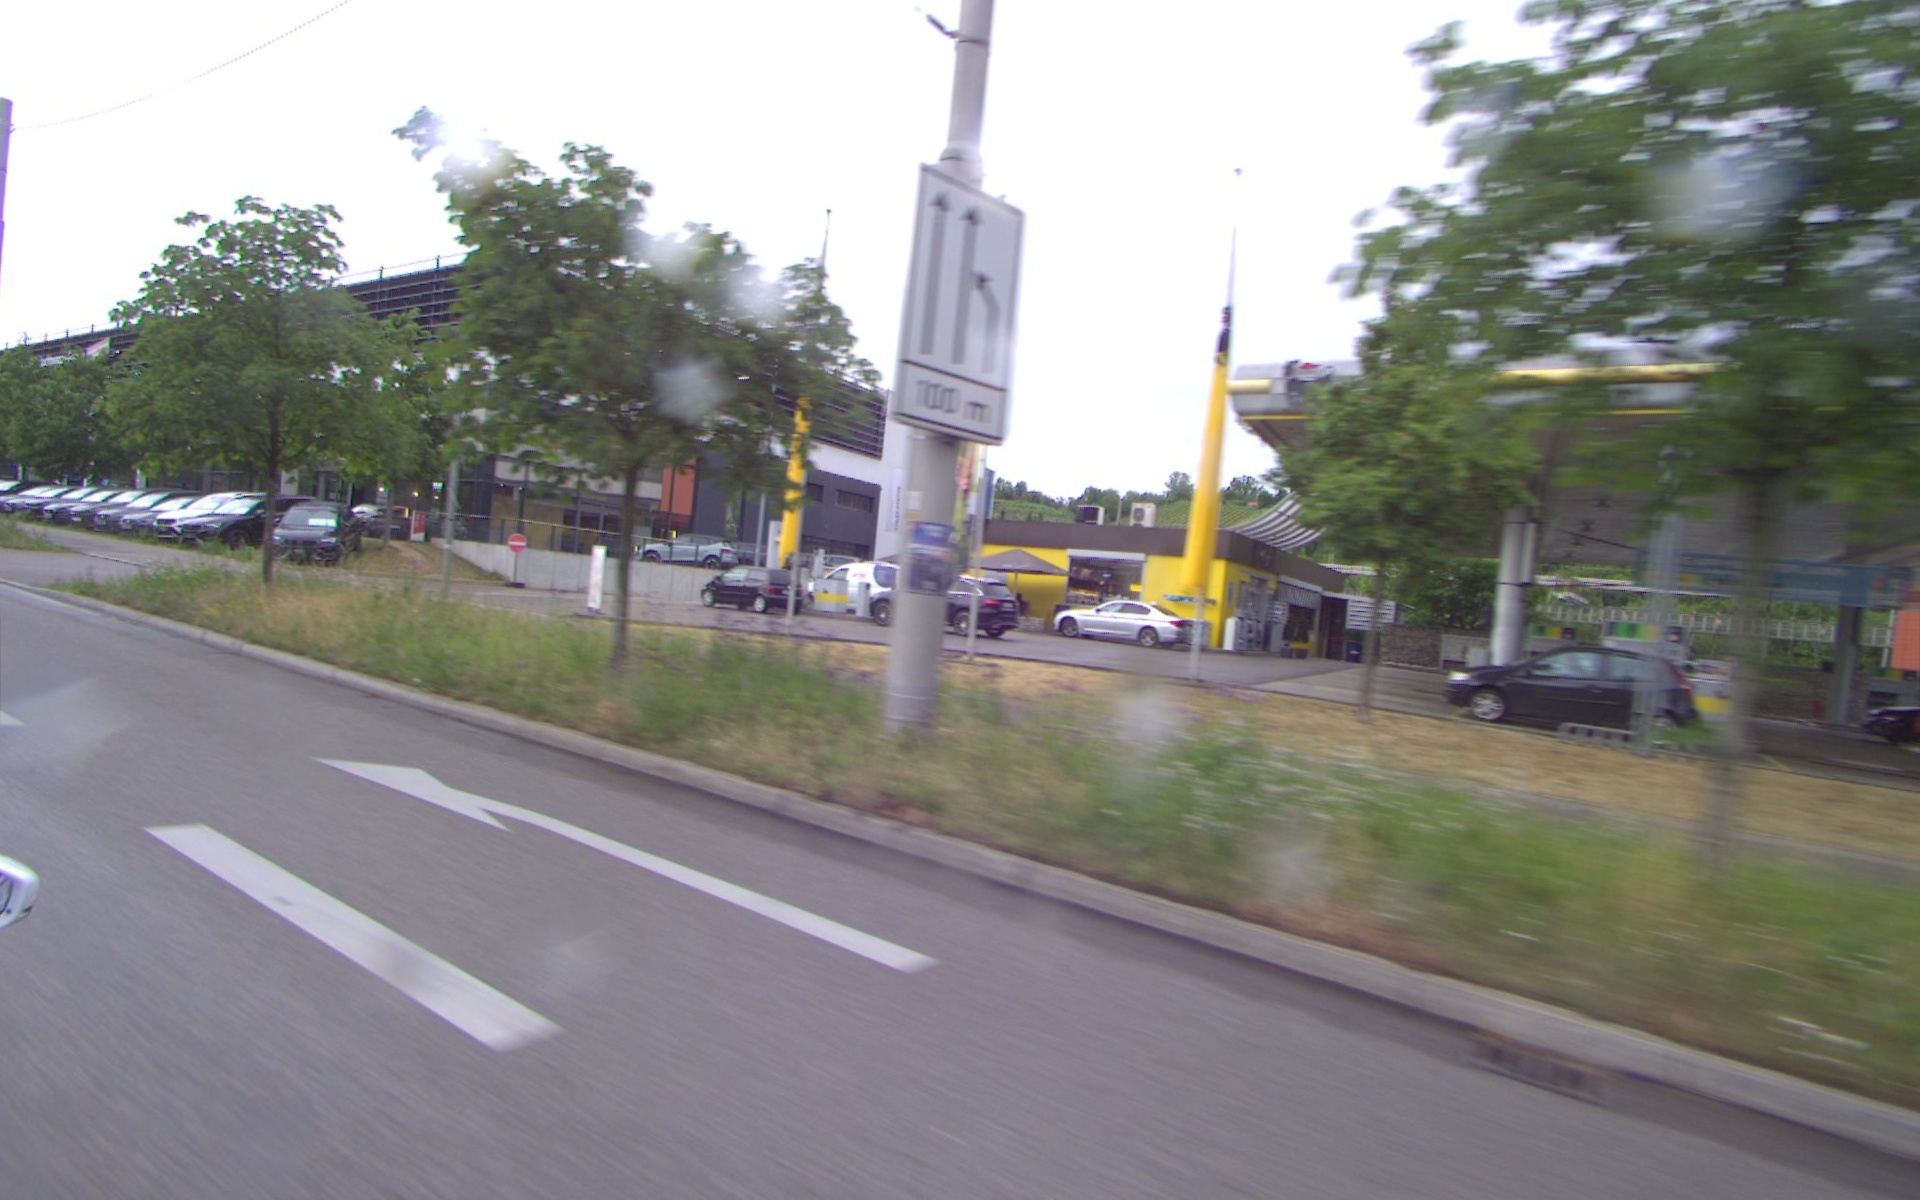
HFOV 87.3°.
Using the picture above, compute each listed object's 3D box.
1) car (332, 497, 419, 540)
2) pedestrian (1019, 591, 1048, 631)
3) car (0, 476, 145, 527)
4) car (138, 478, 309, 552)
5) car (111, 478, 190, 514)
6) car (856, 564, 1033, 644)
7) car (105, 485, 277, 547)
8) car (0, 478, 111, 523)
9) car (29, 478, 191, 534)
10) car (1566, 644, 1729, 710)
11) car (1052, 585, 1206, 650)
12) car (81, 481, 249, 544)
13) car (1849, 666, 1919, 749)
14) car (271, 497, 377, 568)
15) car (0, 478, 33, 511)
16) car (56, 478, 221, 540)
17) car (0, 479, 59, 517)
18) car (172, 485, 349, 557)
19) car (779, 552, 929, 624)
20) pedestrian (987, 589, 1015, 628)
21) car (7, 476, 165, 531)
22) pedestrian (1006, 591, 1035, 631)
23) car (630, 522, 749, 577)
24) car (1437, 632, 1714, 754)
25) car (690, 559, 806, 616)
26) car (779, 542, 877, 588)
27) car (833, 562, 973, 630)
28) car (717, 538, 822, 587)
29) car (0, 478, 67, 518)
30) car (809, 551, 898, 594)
[{"bbox_3d":[-26.413,-3.696,45.422,3.835,1.491,1.780,7,1,33],"label":"car"},{"bbox_3d":[2.679,0.404,36.795,0.765,1.335,0.800,7,2,16],"label":"pedestrian"},{"bbox_3d":[-37.629,-4.147,42.576,1.788,1.590,4.494,6,2,22],"label":"car"},{"bbox_3d":[-24.814,-2.799,34.119,1.786,2.018,4.498,6,2,14],"label":"car"},{"bbox_3d":[-58.857,-7.538,73.193,1.913,2.001,4.028,7,1,33],"label":"car"},{"bbox_3d":[-0.484,0.095,29.080,4.639,1.758,1.995,7,1,32],"label":"car"},{"bbox_3d":[-26.897,-2.904,35.370,1.787,1.659,4.495,6,2,19],"label":"car"},{"bbox_3d":[-39.872,-4.338,43.820,1.656,1.521,4.051,6,2,22],"label":"car"},{"bbox_3d":[-33.364,-3.647,39.651,1.789,1.640,4.492,6,2,25],"label":"car"},{"bbox_3d":[24.305,2.726,35.798,4.525,1.684,1.997,7,-2,32],"label":"car"},{"bbox_3d":[5.709,0.586,34.211,4.639,1.629,1.995,7,0,32],"label":"car"},{"bbox_3d":[-28.970,-3.156,36.847,1.788,1.775,4.494,6,2,22],"label":"car"},{"bbox_3d":[23.628,2.696,23.445,3.934,1.673,1.896,7,5,32],"label":"car"},{"bbox_3d":[-19.243,-2.079,30.643,1.852,1.841,4.364,5,3,-22],"label":"car"},{"bbox_3d":[-50.349,-5.557,51.313,1.796,1.548,4.150,6,2,14],"label":"car"},{"bbox_3d":[-31.142,-3.403,38.313,1.788,1.819,4.494,6,2,22],"label":"car"},{"bbox_3d":[-45.997,-4.994,48.018,1.760,1.554,4.150,6,2,14],"label":"car"},{"bbox_3d":[-22.532,-2.495,32.598,1.844,1.813,4.386,6,2,20],"label":"car"},{"bbox_3d":[-3.603,-0.432,33.957,4.639,1.883,1.995,7,1,32],"label":"car"},{"bbox_3d":[1.497,0.306,36.686,0.700,1.335,0.800,7,2,16],"label":"pedestrian"},{"bbox_3d":[-35.443,-3.885,40.943,1.788,1.685,4.494,6,2,22],"label":"car"},{"bbox_3d":[2.153,0.383,35.760,0.765,1.335,0.800,7,2,16],"label":"pedestrian"},{"bbox_3d":[-11.144,-2.055,41.647,4.235,1.665,1.844,7,1,1],"label":"car"},{"bbox_3d":[10.369,1.485,17.155,3.721,1.438,1.779,7,2,33],"label":"car"},{"bbox_3d":[-6.600,-0.393,31.192,3.432,1.355,1.392,7,1,32],"label":"car"},{"bbox_3d":[-6.430,-1.705,49.230,4.234,1.665,1.845,7,1,7],"label":"car"},{"bbox_3d":[-2.092,-0.158,36.540,4.640,1.883,1.995,7,1,33],"label":"car"},{"bbox_3d":[-8.740,-1.690,46.243,4.233,1.665,1.845,7,1,8],"label":"car"},{"bbox_3d":[-43.961,-4.780,46.248,1.700,1.597,4.055,6,2,14],"label":"car"},{"bbox_3d":[-5.456,-1.411,51.897,4.235,1.665,1.844,7,1,1],"label":"car"}]
